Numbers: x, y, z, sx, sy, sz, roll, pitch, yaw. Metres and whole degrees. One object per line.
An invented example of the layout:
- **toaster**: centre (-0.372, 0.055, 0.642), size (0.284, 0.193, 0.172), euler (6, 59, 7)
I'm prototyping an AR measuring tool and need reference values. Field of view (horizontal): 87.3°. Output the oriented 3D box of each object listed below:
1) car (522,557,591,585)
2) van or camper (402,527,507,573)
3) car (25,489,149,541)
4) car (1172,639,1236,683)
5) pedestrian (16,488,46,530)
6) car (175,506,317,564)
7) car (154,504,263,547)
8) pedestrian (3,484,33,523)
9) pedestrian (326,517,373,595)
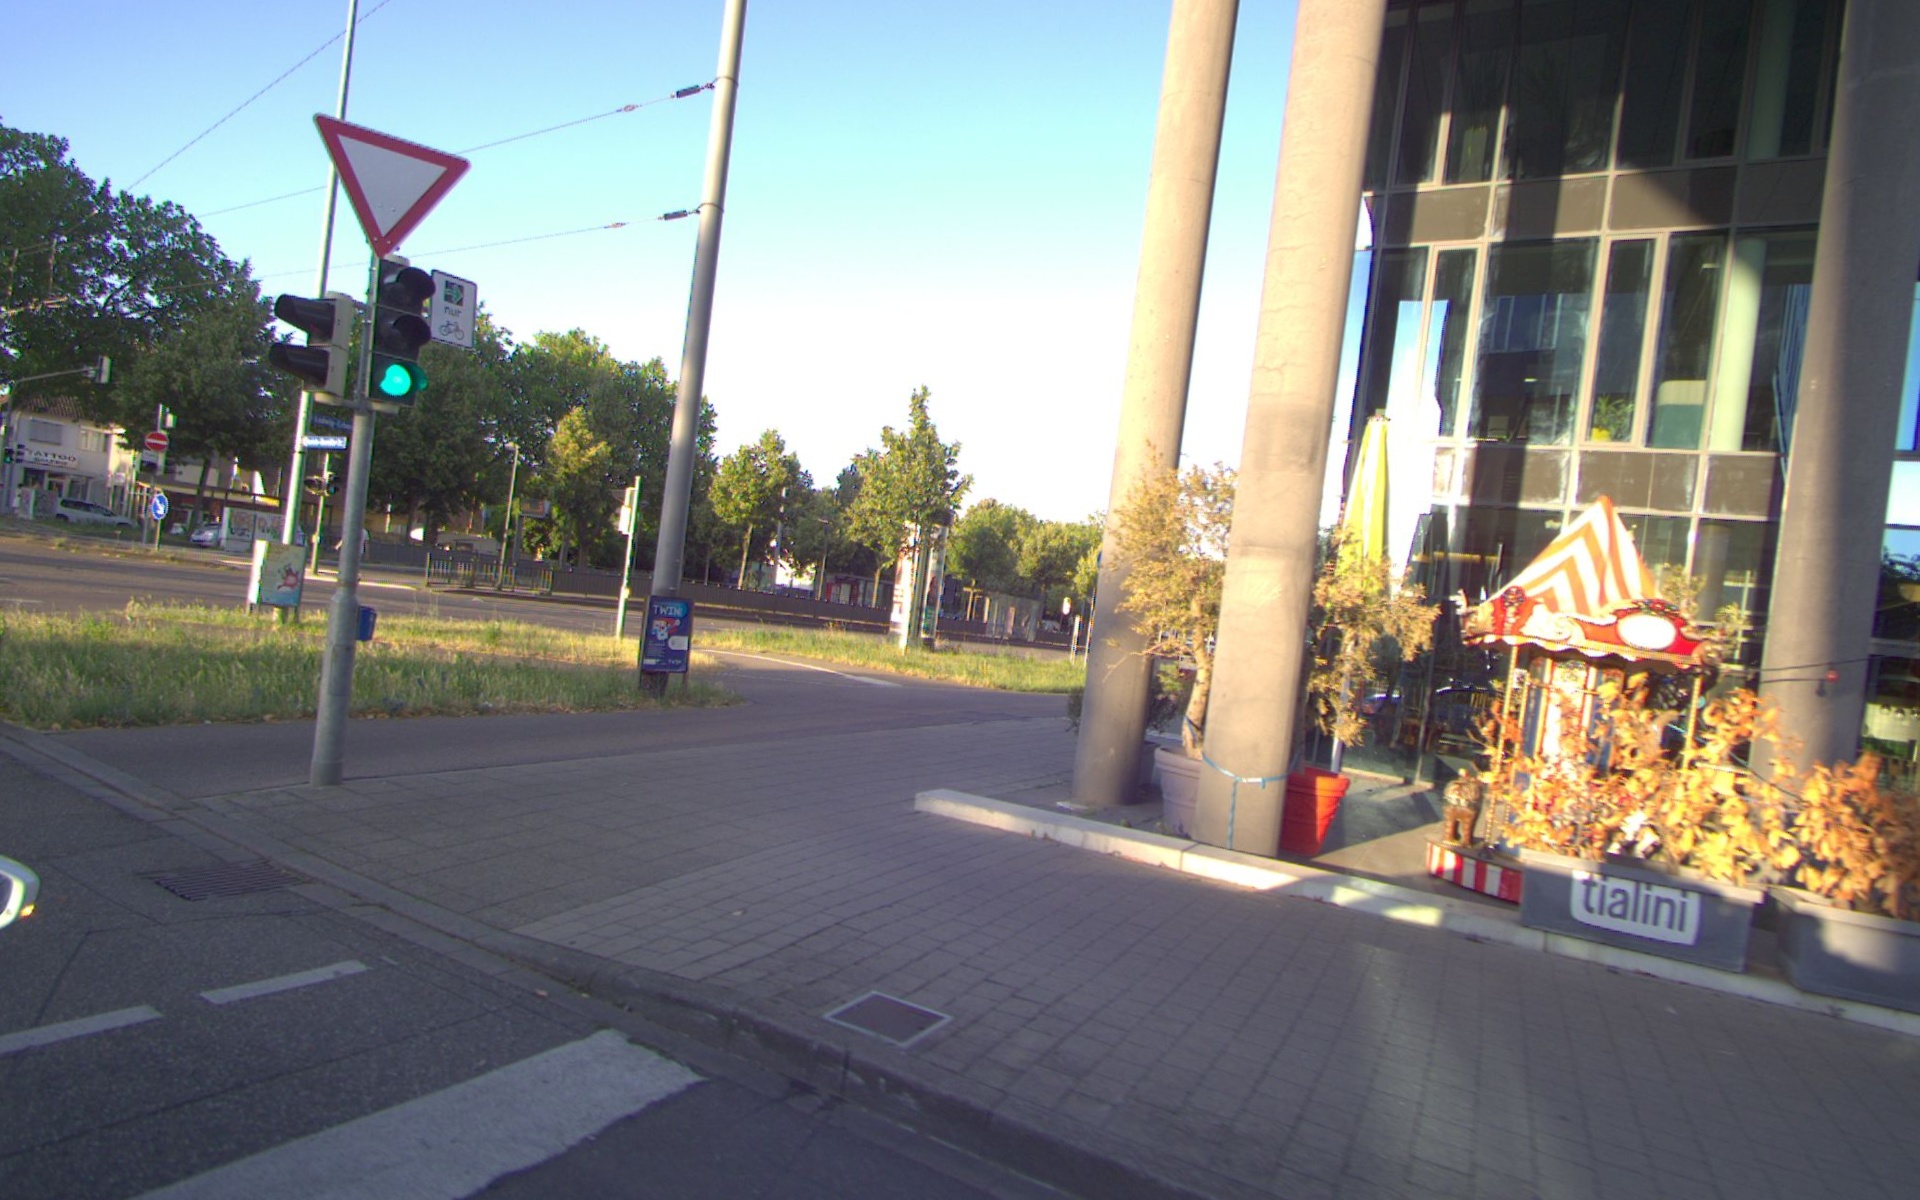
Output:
- **car**: centre (-29.719, -2.139, 74.218), size (1.968, 1.482, 4.235), euler (7, -1, 33)
- **van or camper**: centre (-37.645, -3.705, 75.104), size (2.229, 2.438, 6.569), euler (6, -2, 35)
- **car**: centre (-43.832, -4.253, 50.590), size (1.968, 1.868, 4.235), euler (7, -1, 33)
- **car**: centre (12.513, 3.143, 51.425), size (1.825, 1.849, 4.389), euler (10, 0, 30)
- **pedestrian**: centre (-41.731, -4.081, 45.214), size (0.714, 1.775, 0.889), euler (7, 0, -35)
- **car**: centre (-30.535, -2.723, 43.179), size (1.829, 1.748, 4.546), euler (7, -1, 27)
- **car**: centre (-40.725, -4.030, 54.612), size (1.968, 1.596, 4.235), euler (7, -1, 33)
- **pedestrian**: centre (-42.909, -4.396, 45.819), size (0.714, 1.659, 0.889), euler (7, 0, -35)
- **pedestrian**: centre (-15.225, -1.096, 25.106), size (0.756, 1.812, 0.796), euler (8, -1, -29)
